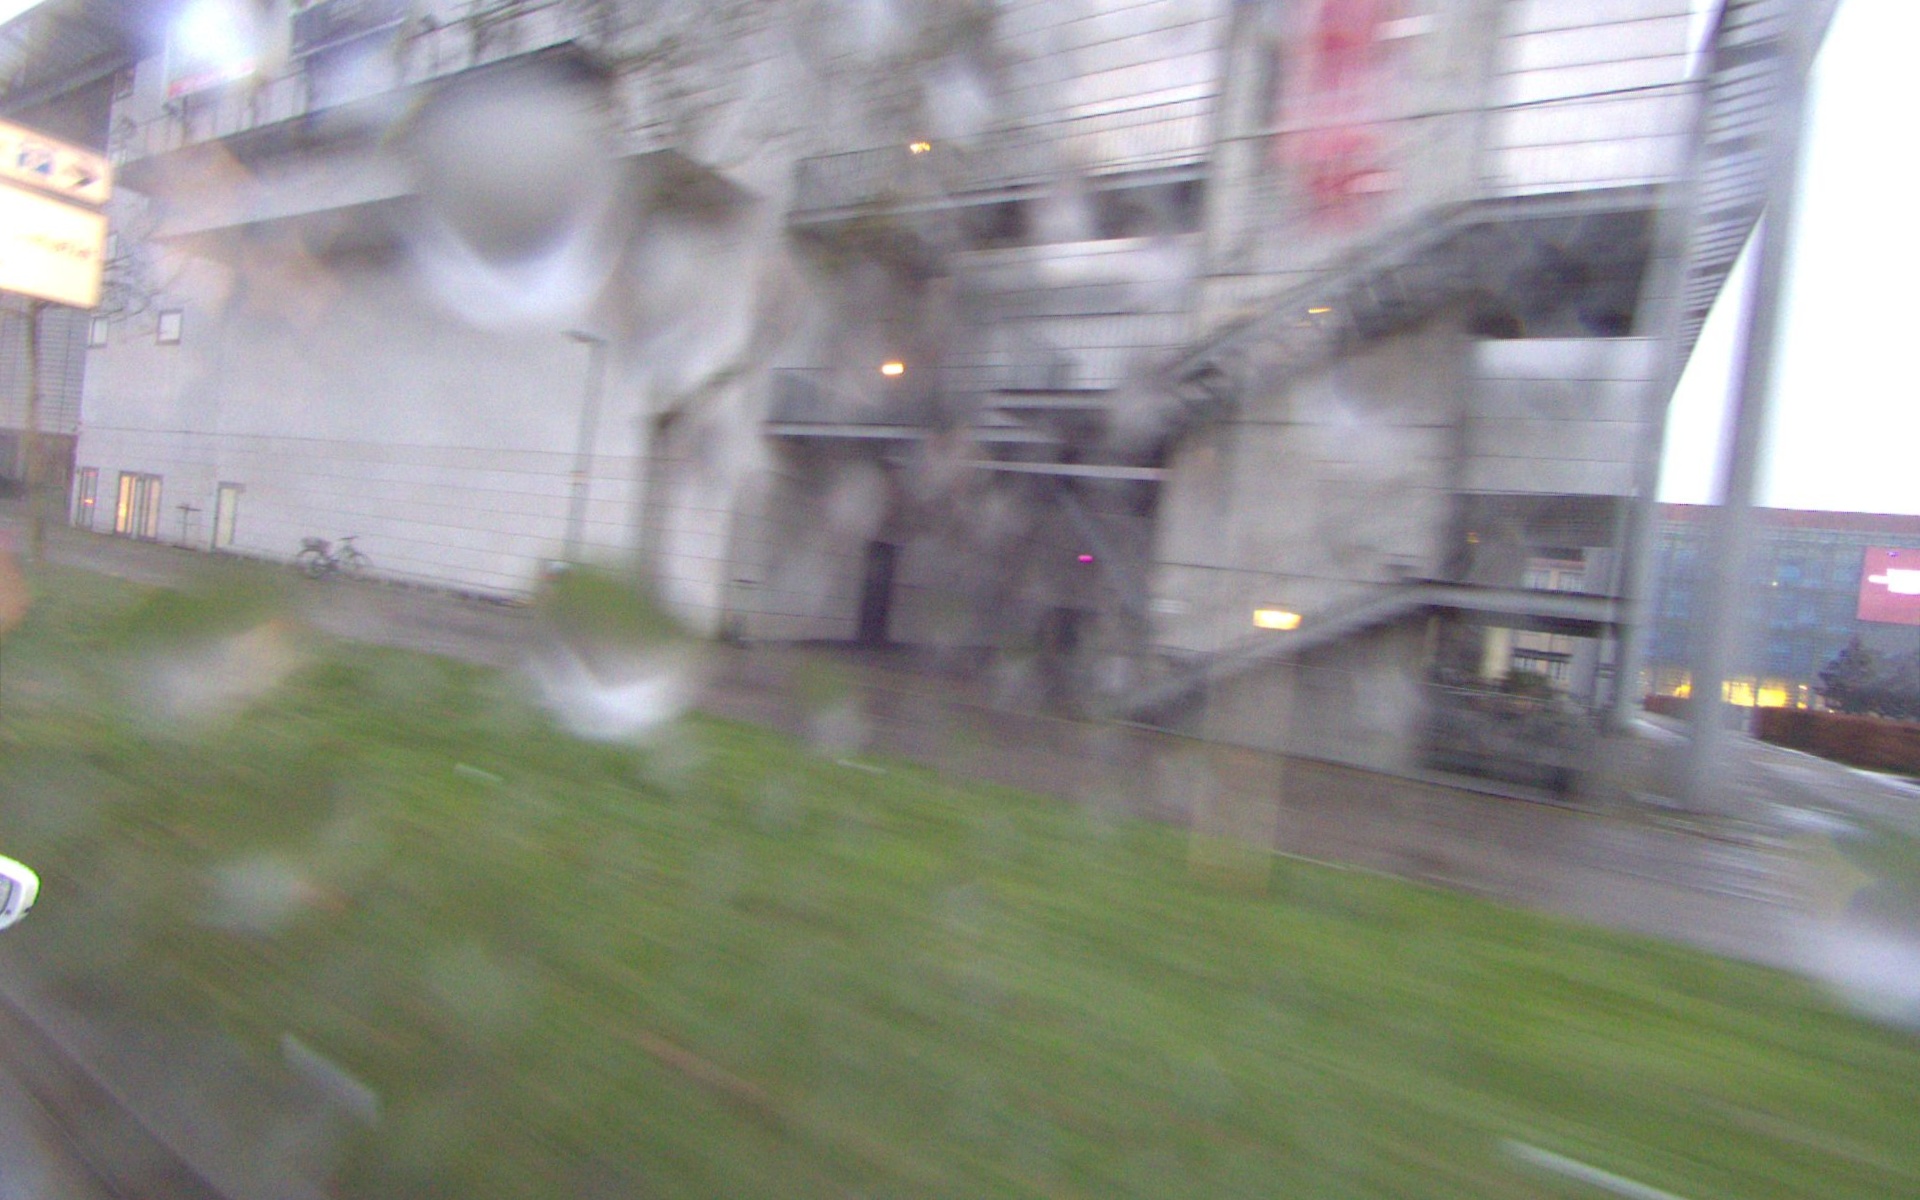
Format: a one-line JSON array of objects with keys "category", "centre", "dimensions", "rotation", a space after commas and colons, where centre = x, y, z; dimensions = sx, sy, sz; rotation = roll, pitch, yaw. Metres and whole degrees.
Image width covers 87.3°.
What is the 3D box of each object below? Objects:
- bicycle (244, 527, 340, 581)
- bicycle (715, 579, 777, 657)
[{"category": "bicycle", "centre": [-15.462, -1.043, 23.330], "dimensions": [0.390, 1.065, 1.811], "rotation": [7, 1, 29]}, {"category": "bicycle", "centre": [-3.982, 0.315, 18.640], "dimensions": [0.408, 1.299, 1.730], "rotation": [8, -1, -31]}]
